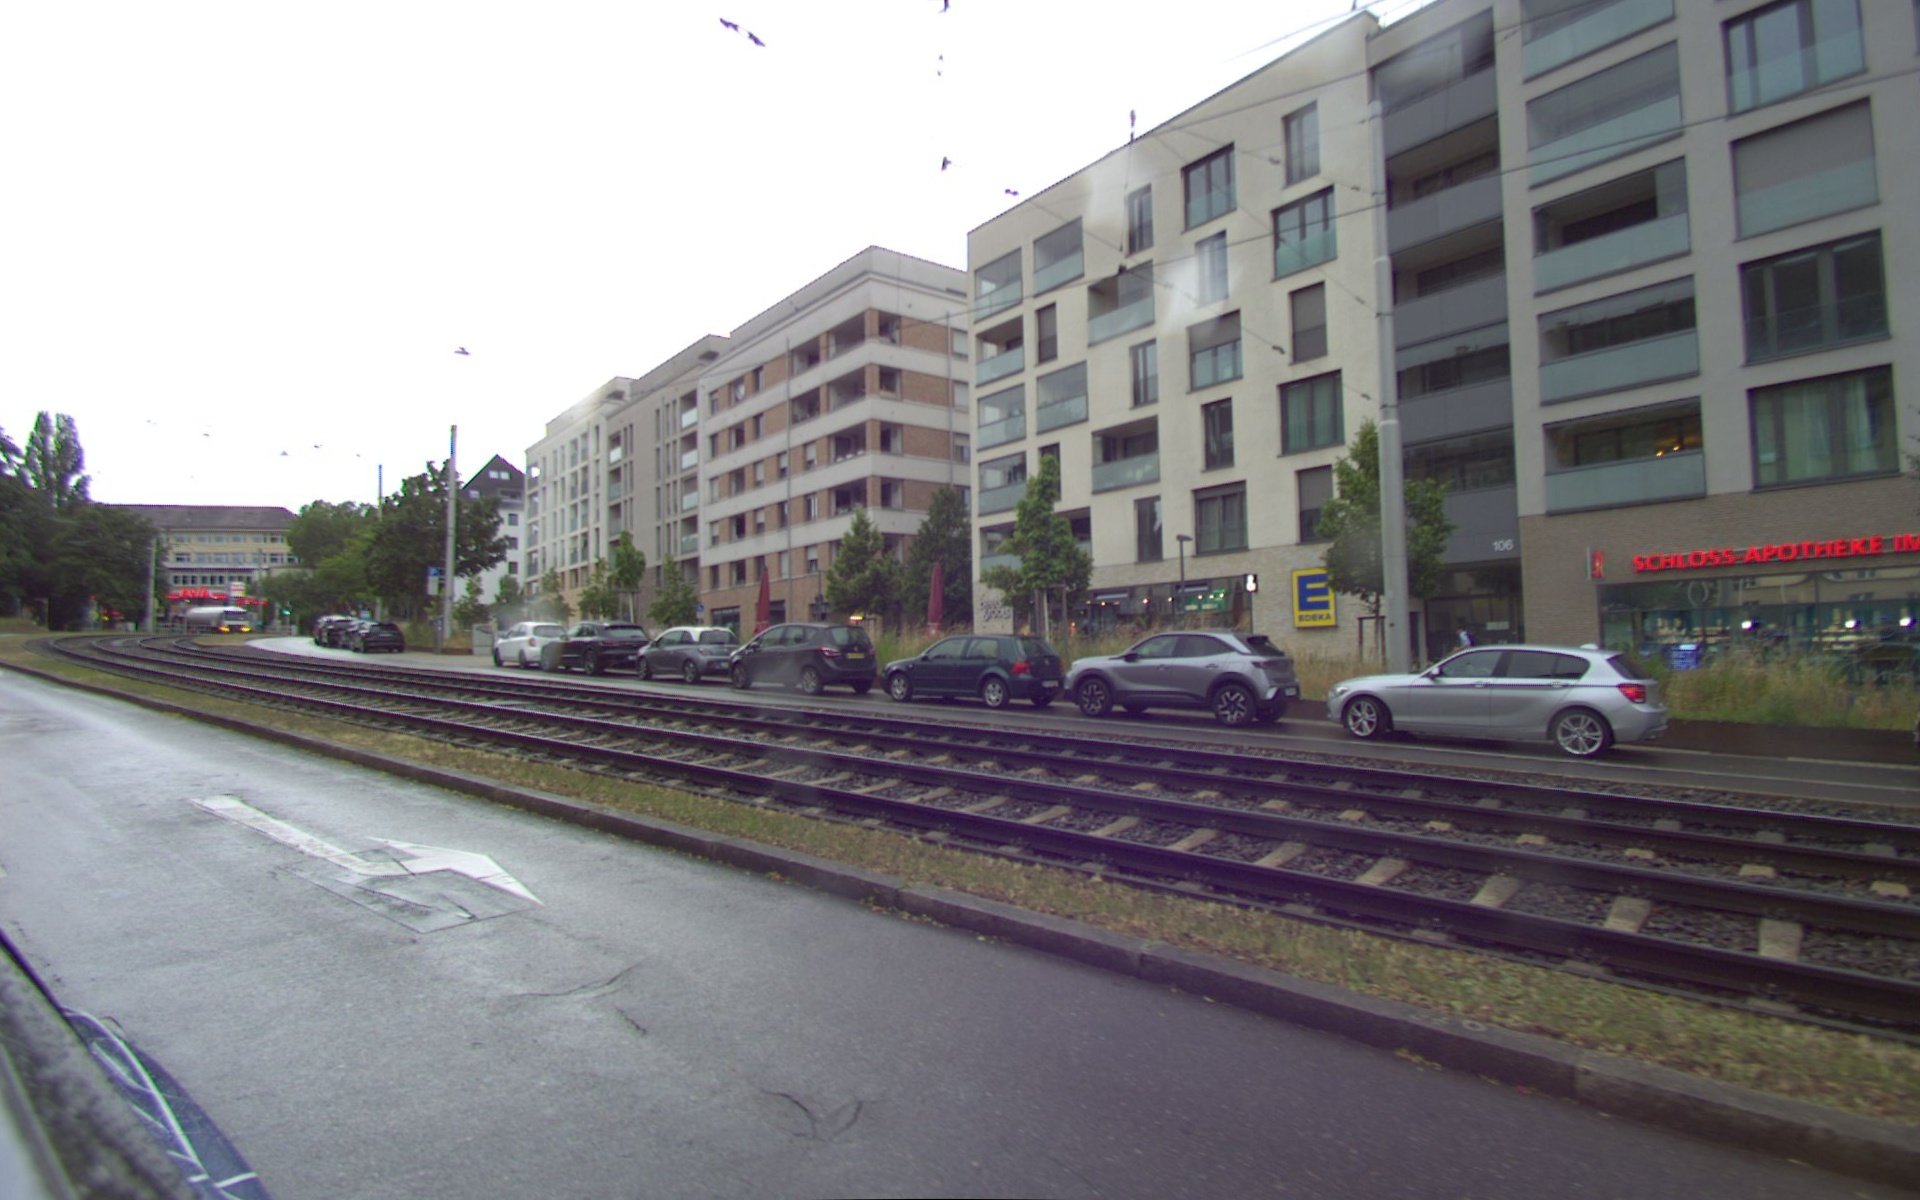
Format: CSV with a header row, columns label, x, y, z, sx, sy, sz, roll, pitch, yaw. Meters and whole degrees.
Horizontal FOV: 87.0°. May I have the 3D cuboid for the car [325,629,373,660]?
label,x,y,z,sx,sy,sz,roll,pitch,yaw
car,-32.756,2.368,54.205,1.630,1.475,3.676,-1,0,-40

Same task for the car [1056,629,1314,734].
label,x,y,z,sx,sy,sz,roll,pitch,yaw
car,3.809,1.305,17.425,4.042,1.541,1.665,0,-1,36

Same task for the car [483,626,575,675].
label,x,y,z,sx,sy,sz,roll,pitch,yaw
car,-14.507,1.647,33.999,1.626,1.516,3.784,1,-1,-43

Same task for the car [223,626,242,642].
label,x,y,z,sx,sy,sz,roll,pitch,yaw
car,-81.391,3.774,113.256,1.641,1.619,3.818,-1,0,-34

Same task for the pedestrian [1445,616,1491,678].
label,x,y,z,sx,sy,sz,roll,pitch,yaw
pedestrian,12.561,1.149,25.039,0.647,1.460,0.805,-1,0,-37

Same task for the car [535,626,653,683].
label,x,y,z,sx,sy,sz,roll,pitch,yaw
car,-11.034,1.573,30.361,1.660,1.516,4.408,1,-1,-44

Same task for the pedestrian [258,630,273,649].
label,x,y,z,sx,sy,sz,roll,pitch,yaw
pedestrian,-65.139,3.687,94.883,0.805,1.777,0.751,3,-4,-11

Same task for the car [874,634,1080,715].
label,x,y,z,sx,sy,sz,roll,pitch,yaw
car,0.281,1.425,20.362,4.030,1.391,1.663,-1,-1,40

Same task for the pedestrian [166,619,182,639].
label,x,y,z,sx,sy,sz,roll,pitch,yaw
pedestrian,-73.033,2.669,94.081,0.805,1.777,0.750,3,-4,-10

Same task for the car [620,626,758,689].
label,x,y,z,sx,sy,sz,roll,pitch,yaw
car,-7.306,1.491,27.152,3.926,1.516,1.663,-1,-1,40

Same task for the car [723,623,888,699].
label,x,y,z,sx,sy,sz,roll,pitch,yaw
car,-3.647,1.349,23.598,3.926,1.575,1.663,-1,-1,40

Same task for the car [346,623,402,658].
label,x,y,z,sx,sy,sz,roll,pitch,yaw
car,-27.746,1.896,47.869,1.630,1.475,3.676,-1,0,-40

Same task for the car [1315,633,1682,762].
label,x,y,z,sx,sy,sz,roll,pitch,yaw
car,7.452,1.245,14.265,4.326,1.475,1.663,-1,-1,40
